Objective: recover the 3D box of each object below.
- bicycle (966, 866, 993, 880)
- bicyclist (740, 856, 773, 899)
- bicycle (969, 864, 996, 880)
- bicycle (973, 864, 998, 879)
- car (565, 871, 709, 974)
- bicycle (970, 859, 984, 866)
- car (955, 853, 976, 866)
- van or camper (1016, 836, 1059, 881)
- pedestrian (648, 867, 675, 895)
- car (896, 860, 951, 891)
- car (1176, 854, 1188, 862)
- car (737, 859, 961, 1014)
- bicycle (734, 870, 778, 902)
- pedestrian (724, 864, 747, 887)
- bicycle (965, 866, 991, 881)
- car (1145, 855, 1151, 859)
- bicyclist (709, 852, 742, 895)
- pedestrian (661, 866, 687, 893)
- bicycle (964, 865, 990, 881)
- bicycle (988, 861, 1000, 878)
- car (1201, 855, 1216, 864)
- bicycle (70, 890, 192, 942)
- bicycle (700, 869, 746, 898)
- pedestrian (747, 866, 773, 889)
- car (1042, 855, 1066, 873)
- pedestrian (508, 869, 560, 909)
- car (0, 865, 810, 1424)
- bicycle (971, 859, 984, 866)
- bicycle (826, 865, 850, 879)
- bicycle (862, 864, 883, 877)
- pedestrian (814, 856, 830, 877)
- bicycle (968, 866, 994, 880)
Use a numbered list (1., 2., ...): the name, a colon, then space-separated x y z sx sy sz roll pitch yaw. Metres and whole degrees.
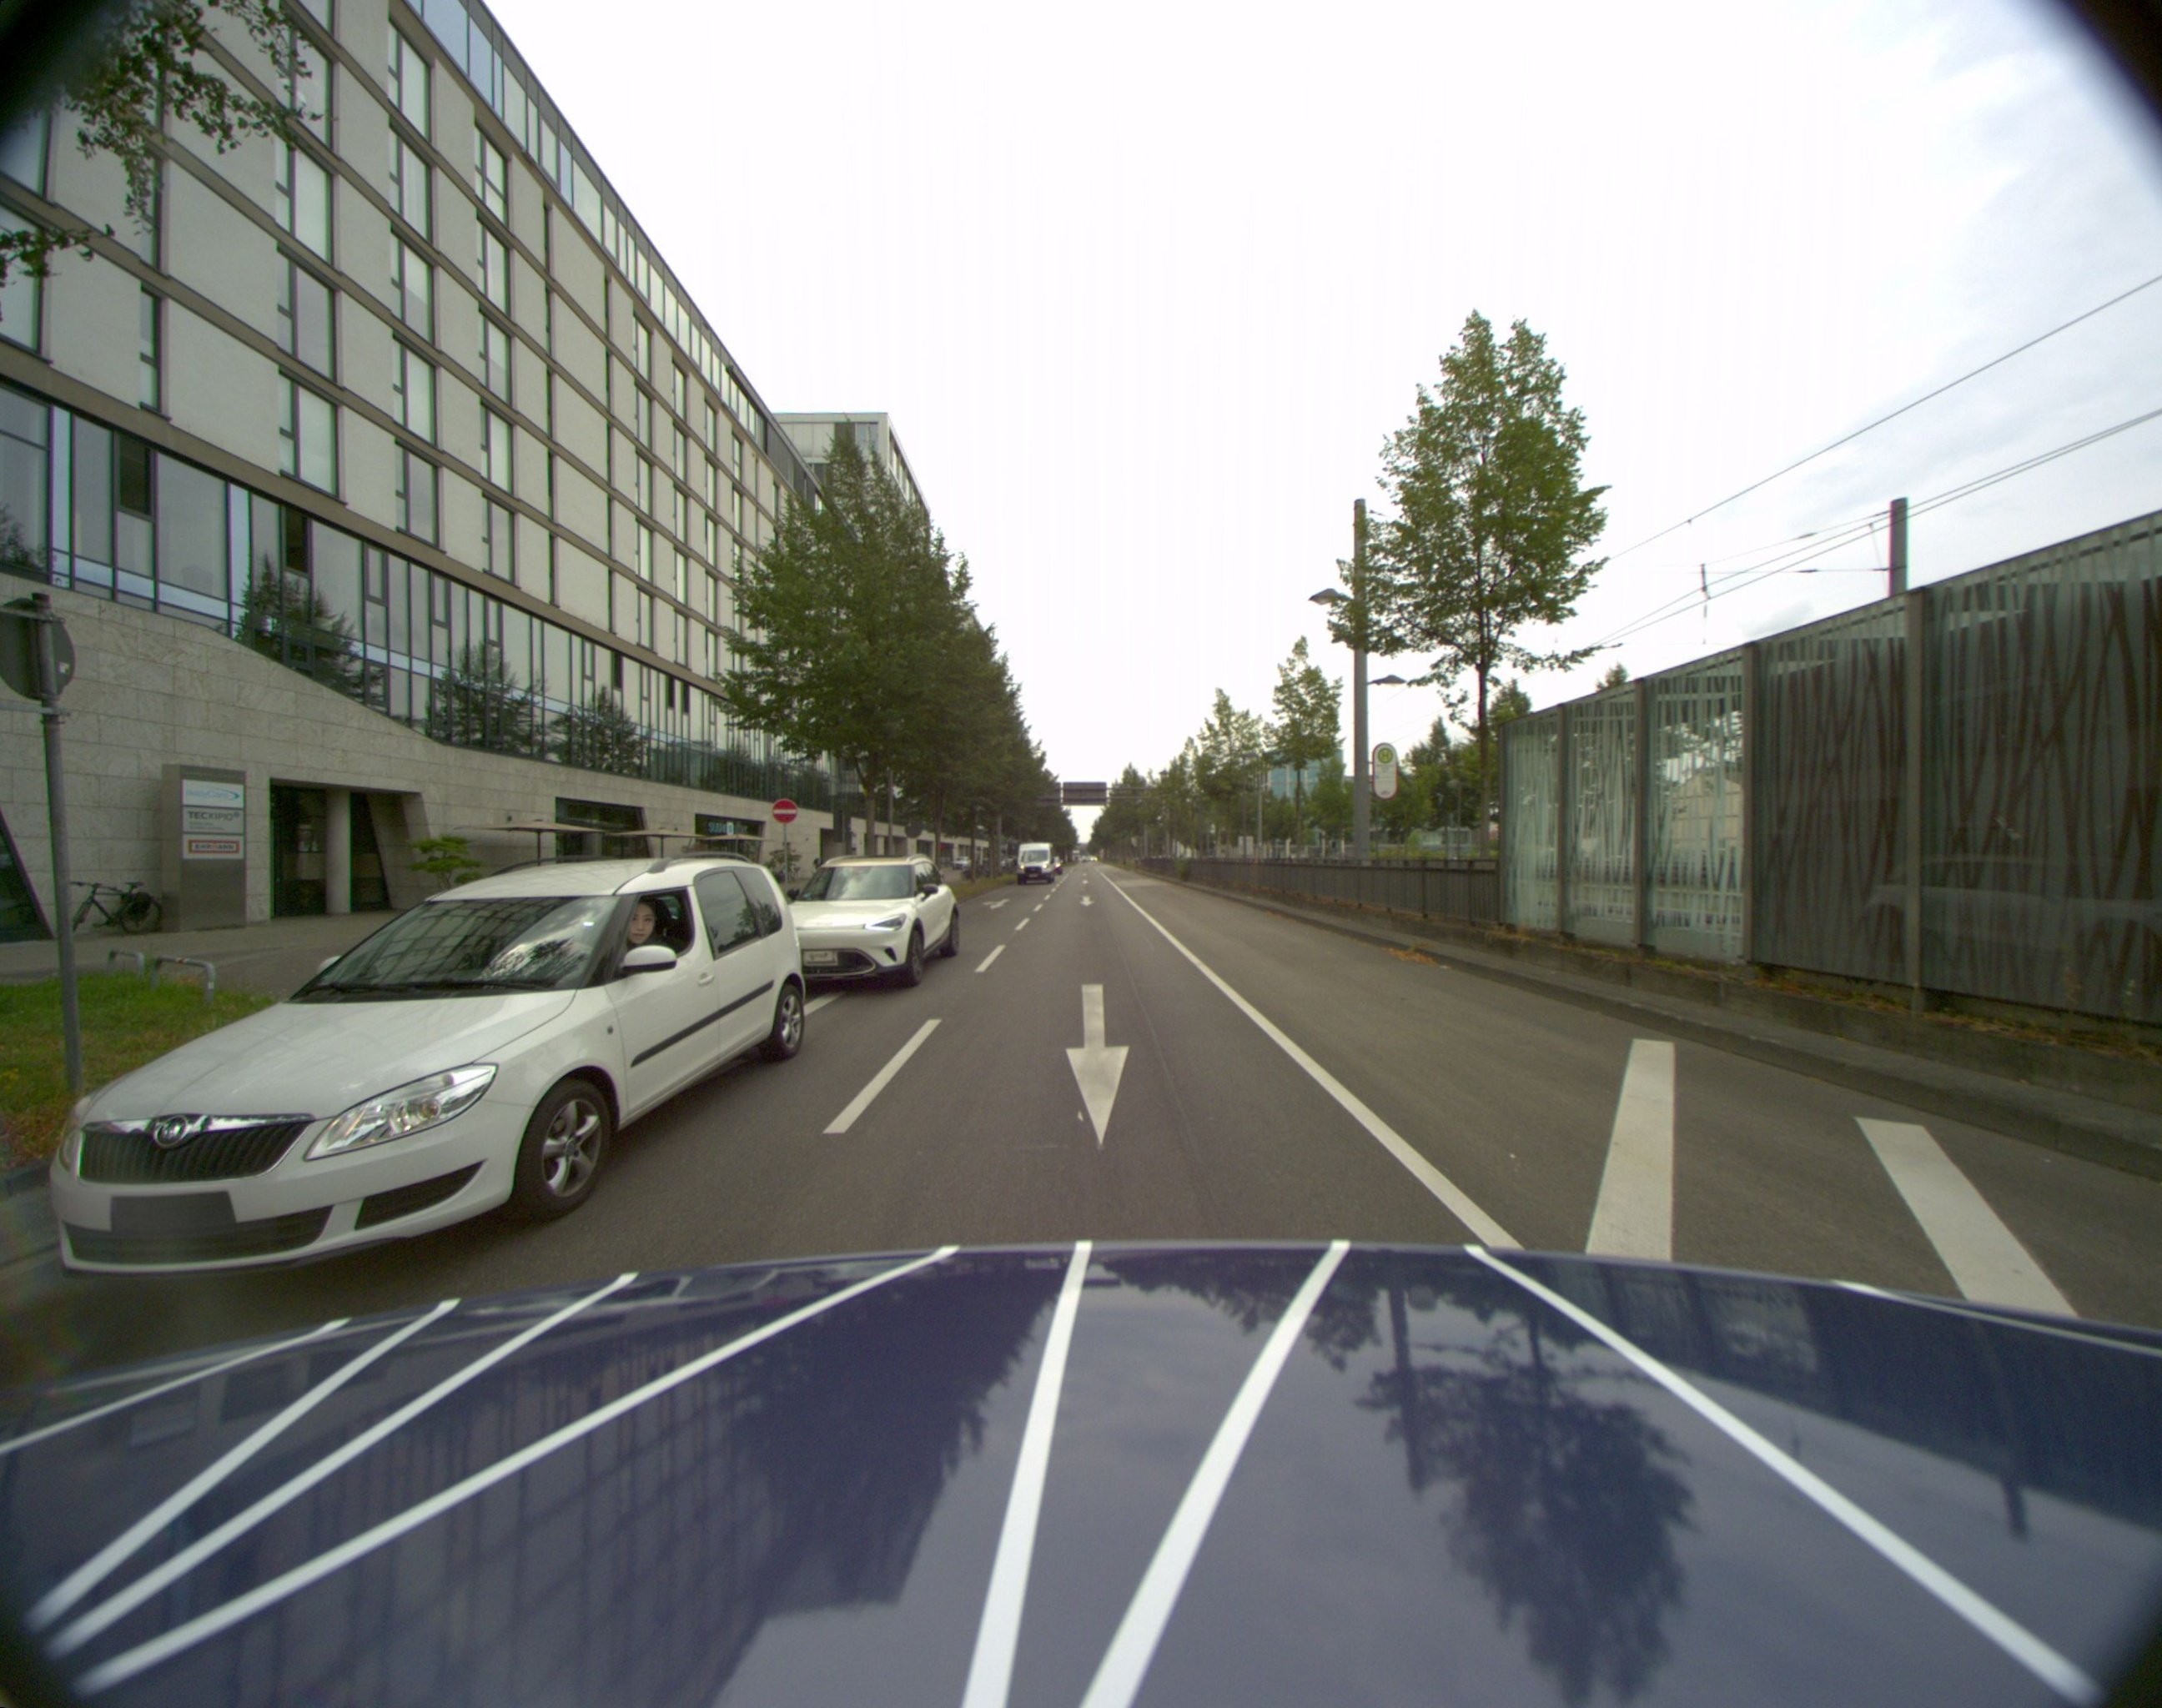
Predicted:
1. bicycle: -7.721 1.470 57.854 1.865 0.946 0.652 -4 0 -3
2. bicyclist: -12.083 0.862 28.303 0.726 1.573 0.990 1 1 3
3. bicycle: -7.670 1.408 59.287 1.935 1.059 0.705 -4 0 -3
4. bicycle: -7.630 1.430 60.777 1.936 1.059 0.543 -4 0 -8
5. car: -8.314 1.086 13.987 1.951 1.467 4.858 -1 0 -34
6. bicycle: -17.967 1.431 131.603 2.426 1.170 1.202 -1 0 -7
7. car: -14.314 0.649 94.313 1.862 1.579 4.240 2 0 0
8. van or camper: -2.572 0.272 46.414 2.184 2.493 6.339 -2 0 0
9. pedestrian: -18.142 1.180 32.882 0.720 1.185 0.759 0 0 0
10. car: -8.237 1.086 40.068 1.943 1.543 4.593 -1 0 0
11. car: 23.368 0.918 176.065 1.998 1.933 5.096 -2 0 0
12. car: -2.883 0.924 10.424 1.783 1.647 4.023 -2 0 0
13. bicycle: -12.093 1.174 28.341 0.675 1.136 2.008 0 -1 3
14. pedestrian: -17.890 1.097 39.350 0.719 1.185 0.760 0 0 22
15. bicycle: -7.734 1.474 57.105 1.865 0.946 0.501 -4 0 -3
16. car: 22.903 0.950 259.636 1.752 1.448 3.865 -1 0 2
17. bicyclist: -13.314 0.730 28.497 0.726 1.573 0.990 1 1 3
18. pedestrian: -18.125 1.144 33.859 0.720 1.185 0.759 0 0 2
19. bicycle: -7.716 1.406 56.438 1.865 0.989 0.574 -4 0 -3
20. bicycle: -6.165 1.092 53.680 0.712 1.109 2.202 -4 0 -7
21. car: 23.635 1.033 140.800 1.832 1.646 4.691 0 0 -2
22. bicycle: -18.794 1.203 15.080 0.519 0.905 1.493 0 0 1
23. bicycle: -13.336 1.082 28.379 0.675 1.036 2.008 0 0 3
24. pedestrian: -17.271 1.251 40.892 0.773 1.185 1.107 0 0 15
25. car: -2.380 0.902 67.829 1.973 1.528 4.139 0 0 1
26. pedestrian: -17.195 1.097 23.901 0.899 1.221 0.950 0 0 5
27. car: -3.181 0.919 4.320 1.783 1.647 4.023 0 0 1
28. bicycle: -17.769 1.430 130.376 2.238 1.170 0.975 -1 0 -7
29. bicycle: -17.802 1.287 55.663 1.605 1.020 0.609 0 0 -27
30. bicycle: -17.237 1.347 62.754 1.602 1.020 0.533 0 0 -3
31. pedestrian: -17.644 0.824 51.741 0.758 1.398 0.721 0 0 8
32. bicycle: -7.683 1.464 58.595 1.865 0.946 0.612 -4 0 -3
